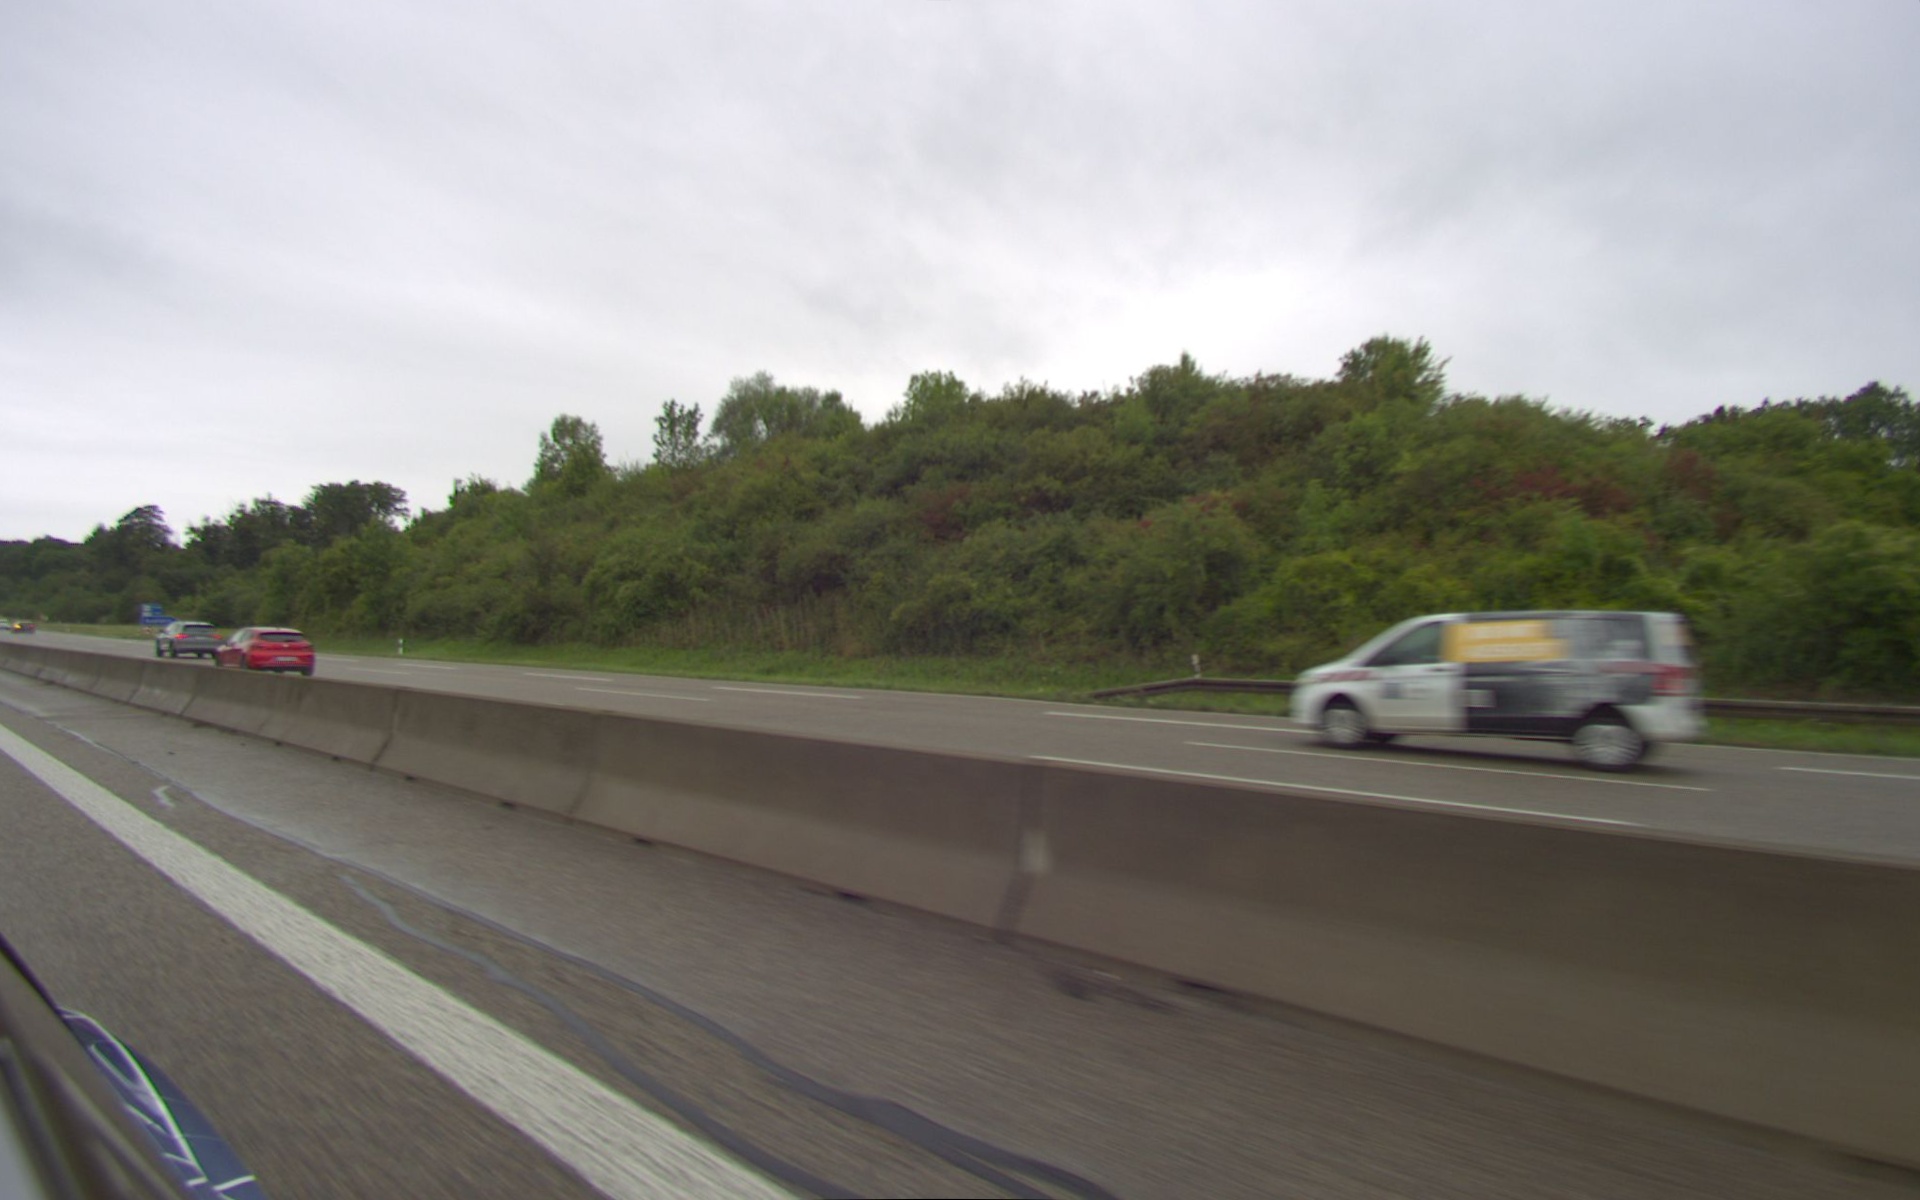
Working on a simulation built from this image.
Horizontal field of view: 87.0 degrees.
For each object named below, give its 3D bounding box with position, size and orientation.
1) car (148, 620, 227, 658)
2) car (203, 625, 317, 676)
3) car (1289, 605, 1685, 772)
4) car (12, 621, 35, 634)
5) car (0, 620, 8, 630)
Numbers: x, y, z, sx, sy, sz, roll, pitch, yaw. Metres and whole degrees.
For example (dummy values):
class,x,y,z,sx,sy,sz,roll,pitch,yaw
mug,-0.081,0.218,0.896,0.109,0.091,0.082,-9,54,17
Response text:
class,x,y,z,sx,sy,sz,roll,pitch,yaw
car,-36.185,1.800,47.349,4.914,1.701,1.972,-1,-2,41
car,-20.847,1.480,30.093,4.362,1.423,1.618,-1,-4,39
car,7.042,1.078,13.851,4.528,1.919,1.723,-1,-2,41
car,-108.448,3.200,117.204,4.470,1.395,1.778,-1,-3,45
car,-136.769,3.573,143.695,4.627,1.461,1.779,-1,-2,41
